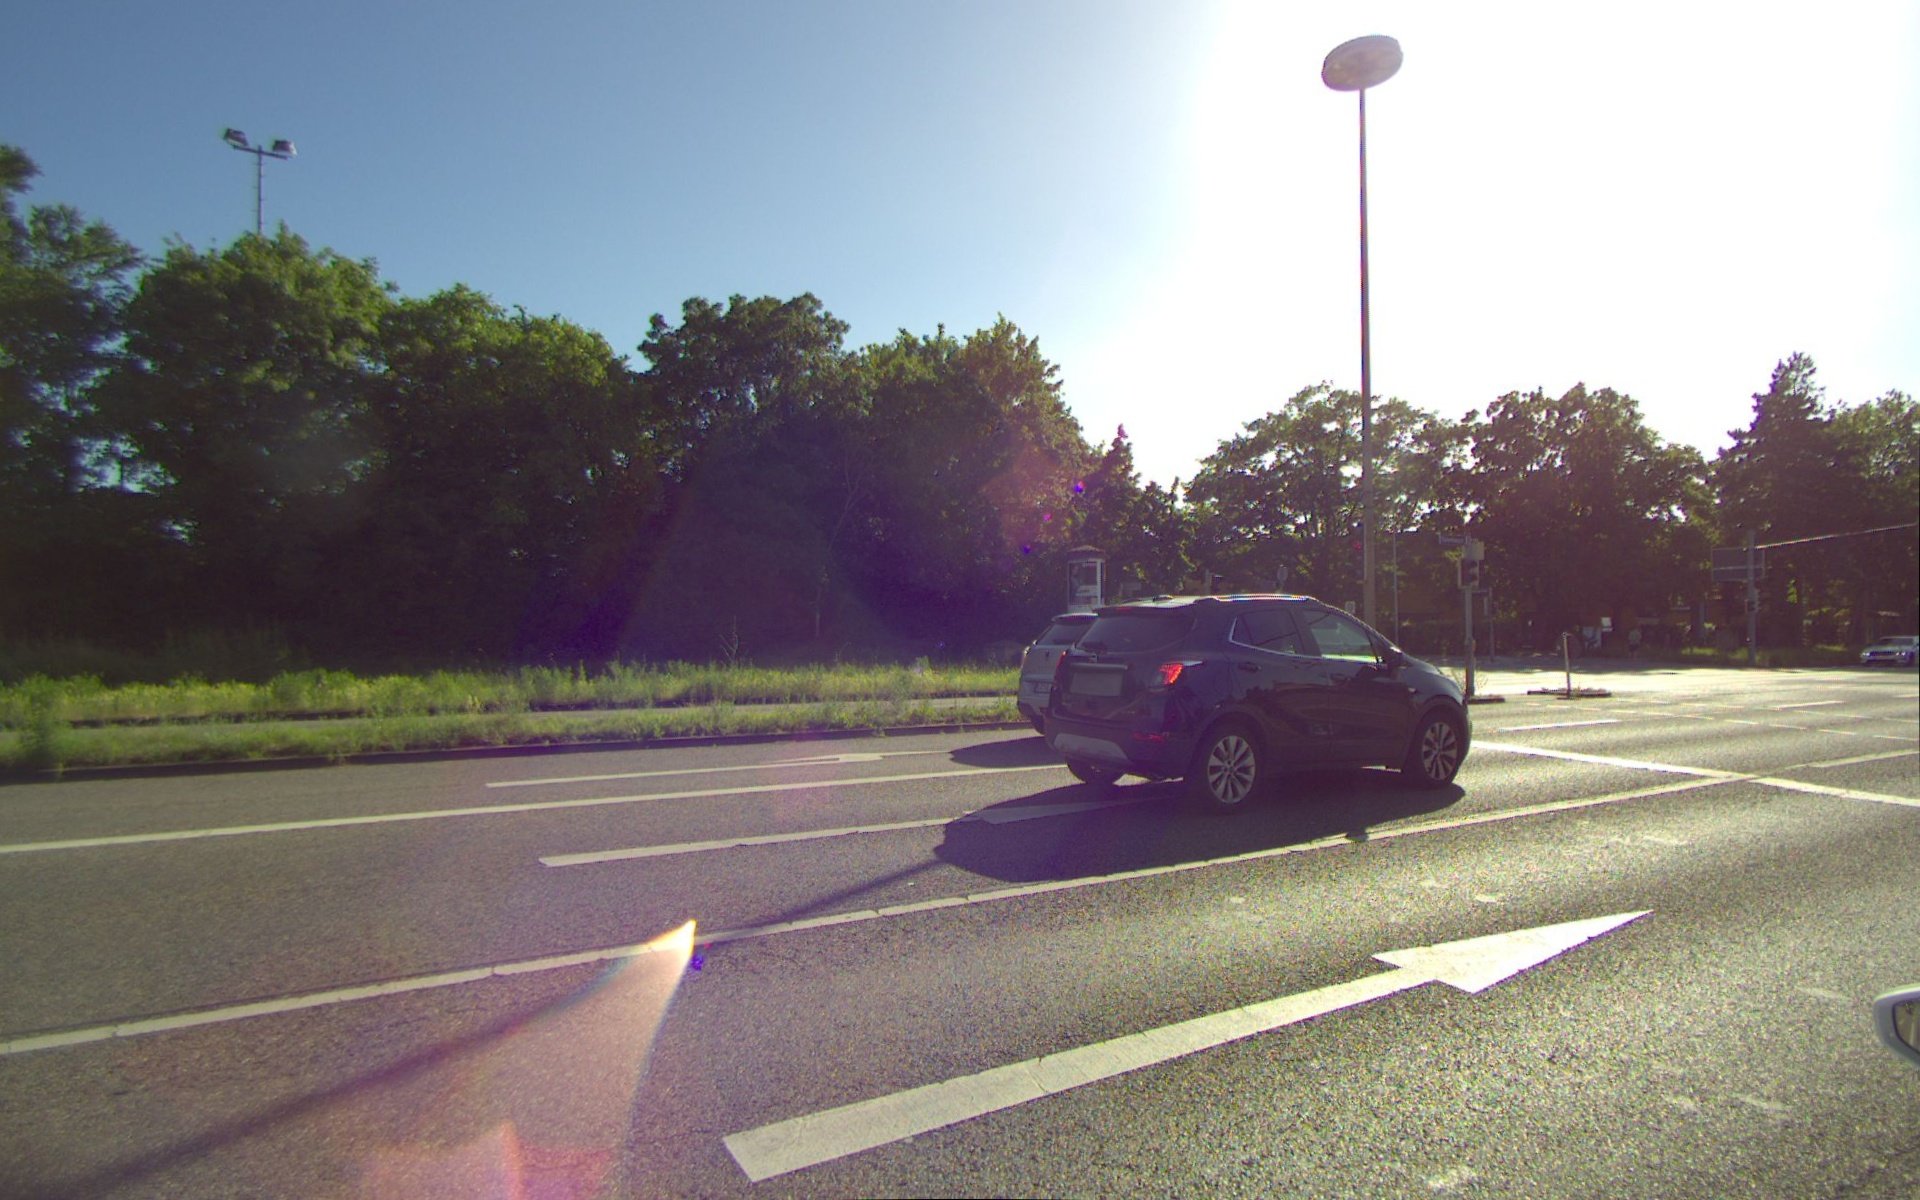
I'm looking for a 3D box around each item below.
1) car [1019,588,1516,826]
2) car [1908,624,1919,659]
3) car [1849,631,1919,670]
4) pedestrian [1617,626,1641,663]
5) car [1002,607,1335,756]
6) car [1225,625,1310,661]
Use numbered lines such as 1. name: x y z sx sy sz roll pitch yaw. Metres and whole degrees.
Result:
1. car: 2.795 0.808 8.826 4.366 1.653 1.688 1 -2 -30
2. car: 51.845 2.200 52.745 3.953 1.773 1.984 1 -1 -30
3. car: 44.711 2.410 48.199 4.210 1.706 1.855 2 0 -30
4. pedestrian: 33.342 2.218 50.080 0.542 1.859 0.843 1 -2 -26
5. car: 2.710 0.956 12.857 4.058 1.631 1.776 1 -2 -30
6. car: 14.303 1.993 46.964 1.841 1.442 3.914 2 0 -19
